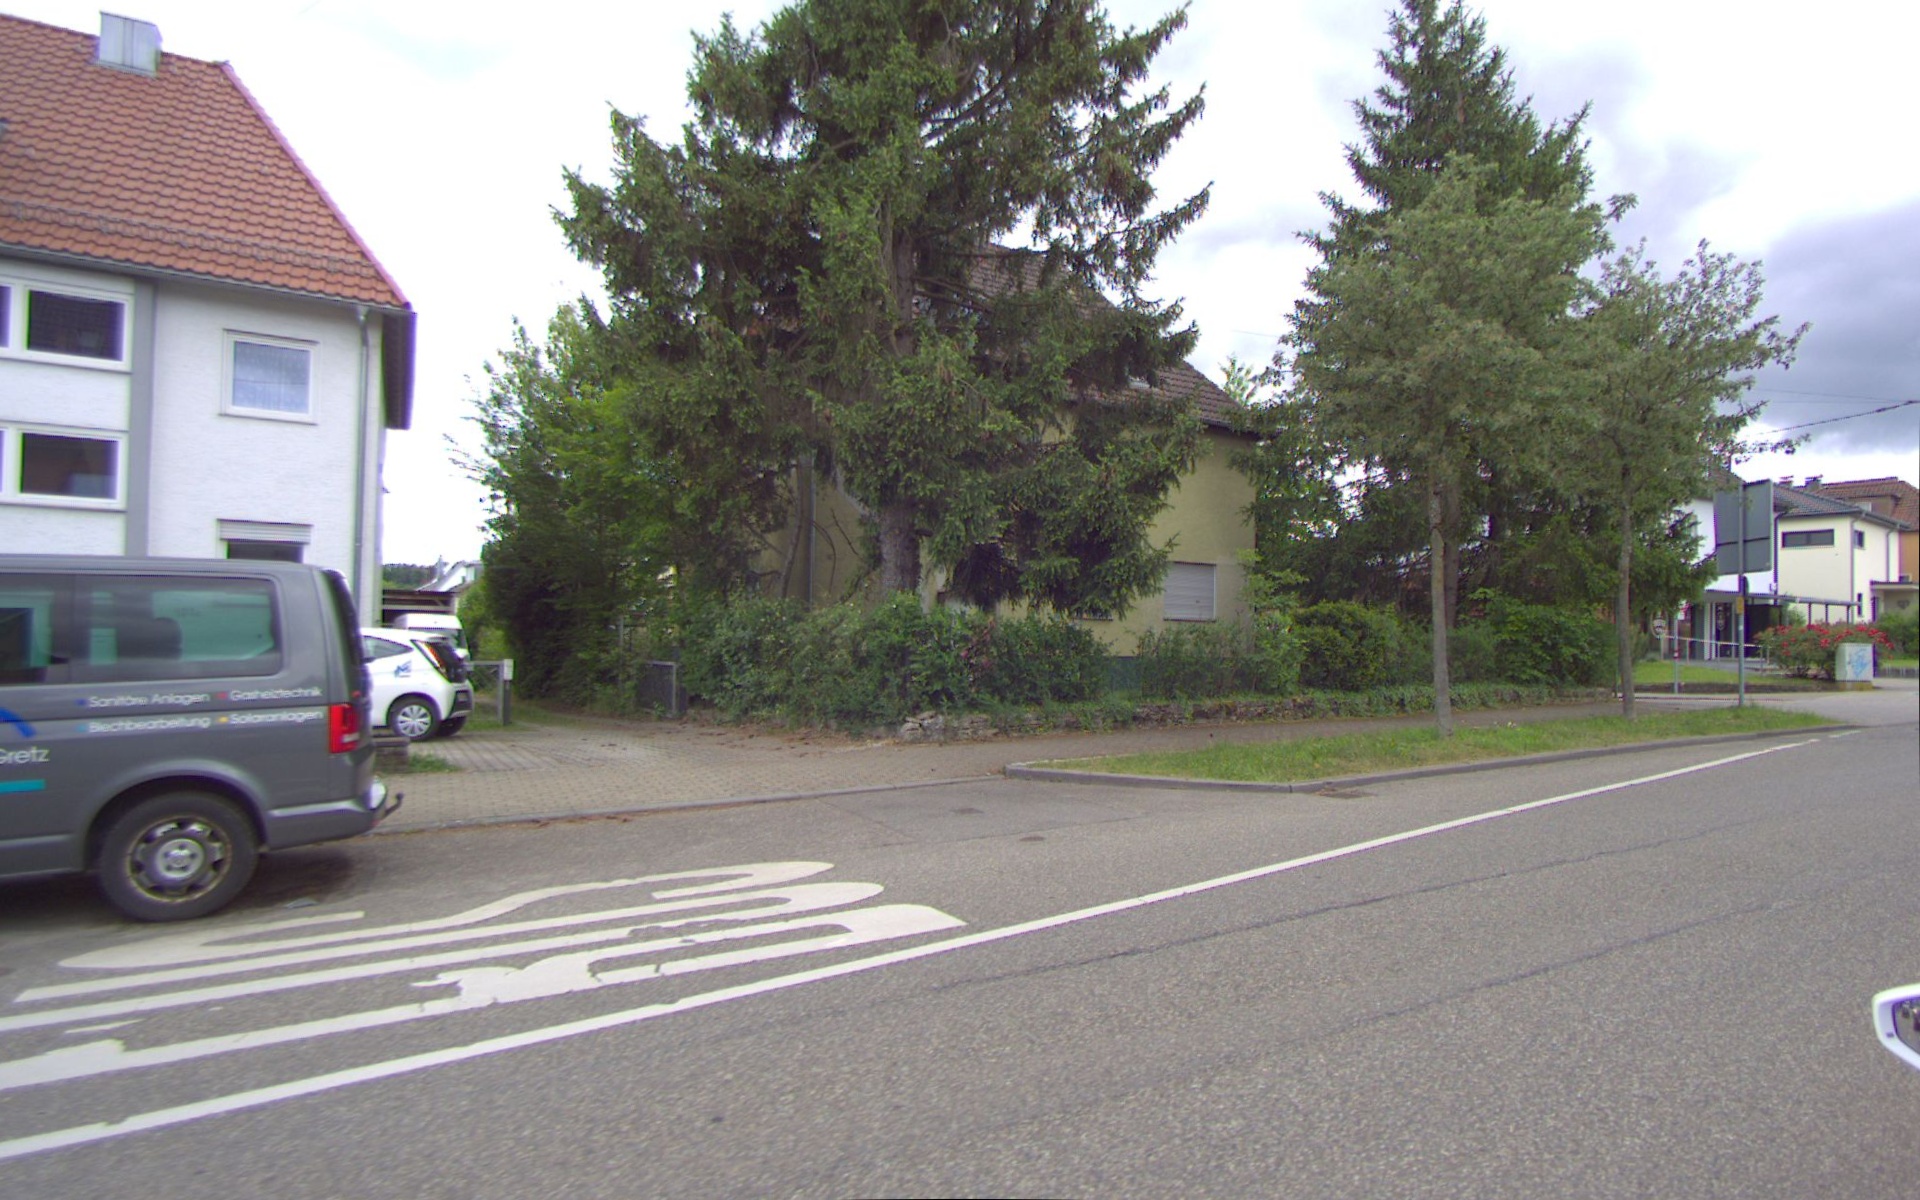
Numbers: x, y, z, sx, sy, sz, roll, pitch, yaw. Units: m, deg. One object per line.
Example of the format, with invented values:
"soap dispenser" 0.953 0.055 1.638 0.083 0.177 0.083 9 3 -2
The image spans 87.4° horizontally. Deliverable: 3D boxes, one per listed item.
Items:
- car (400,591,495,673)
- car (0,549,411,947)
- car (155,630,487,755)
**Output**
"car" -18.000 1.124 35.120 2.237 2.620 5.553 1 -2 -34
"car" -5.814 0.754 5.542 4.841 1.975 1.984 1 -2 -30
"car" -8.343 1.164 13.437 3.368 1.505 1.626 0 -2 -15
